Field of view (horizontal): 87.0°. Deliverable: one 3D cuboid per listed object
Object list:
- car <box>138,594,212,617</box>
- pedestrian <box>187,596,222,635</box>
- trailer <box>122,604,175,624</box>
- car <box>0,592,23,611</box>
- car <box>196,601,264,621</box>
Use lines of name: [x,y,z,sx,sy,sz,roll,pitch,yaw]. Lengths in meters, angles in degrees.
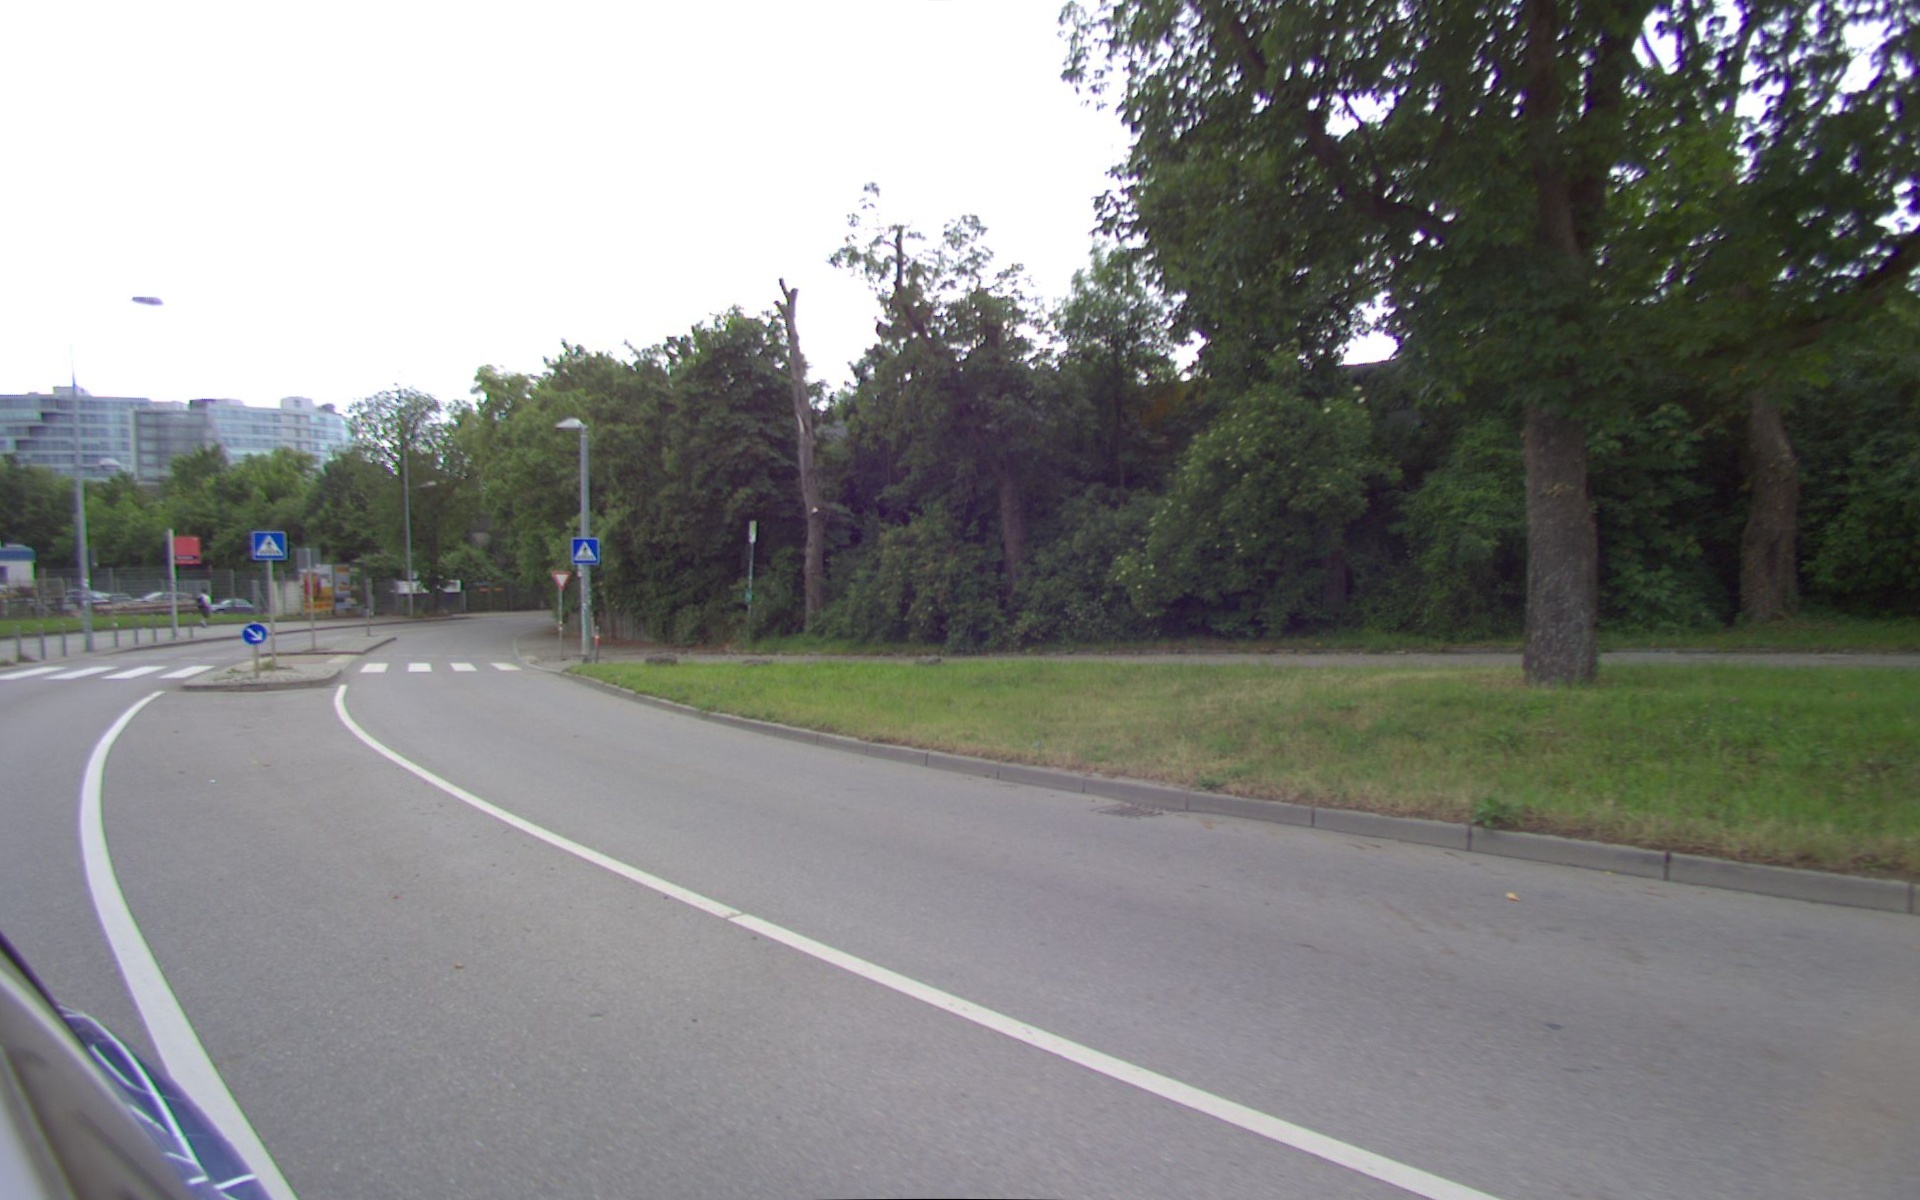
car: [-55.386,0.433,71.471,1.557,1.543,3.777,2,0,26]
pedestrian: [-34.079,0.683,45.652,0.842,1.696,0.936,1,3,13]
trailer: [-50.817,0.860,63.385,2.630,1.146,1.830,0,1,31]
car: [-66.877,0.101,70.461,3.292,1.341,1.326,0,0,25]
car: [-48.740,0.755,67.626,1.464,1.261,3.340,1,-1,26]
